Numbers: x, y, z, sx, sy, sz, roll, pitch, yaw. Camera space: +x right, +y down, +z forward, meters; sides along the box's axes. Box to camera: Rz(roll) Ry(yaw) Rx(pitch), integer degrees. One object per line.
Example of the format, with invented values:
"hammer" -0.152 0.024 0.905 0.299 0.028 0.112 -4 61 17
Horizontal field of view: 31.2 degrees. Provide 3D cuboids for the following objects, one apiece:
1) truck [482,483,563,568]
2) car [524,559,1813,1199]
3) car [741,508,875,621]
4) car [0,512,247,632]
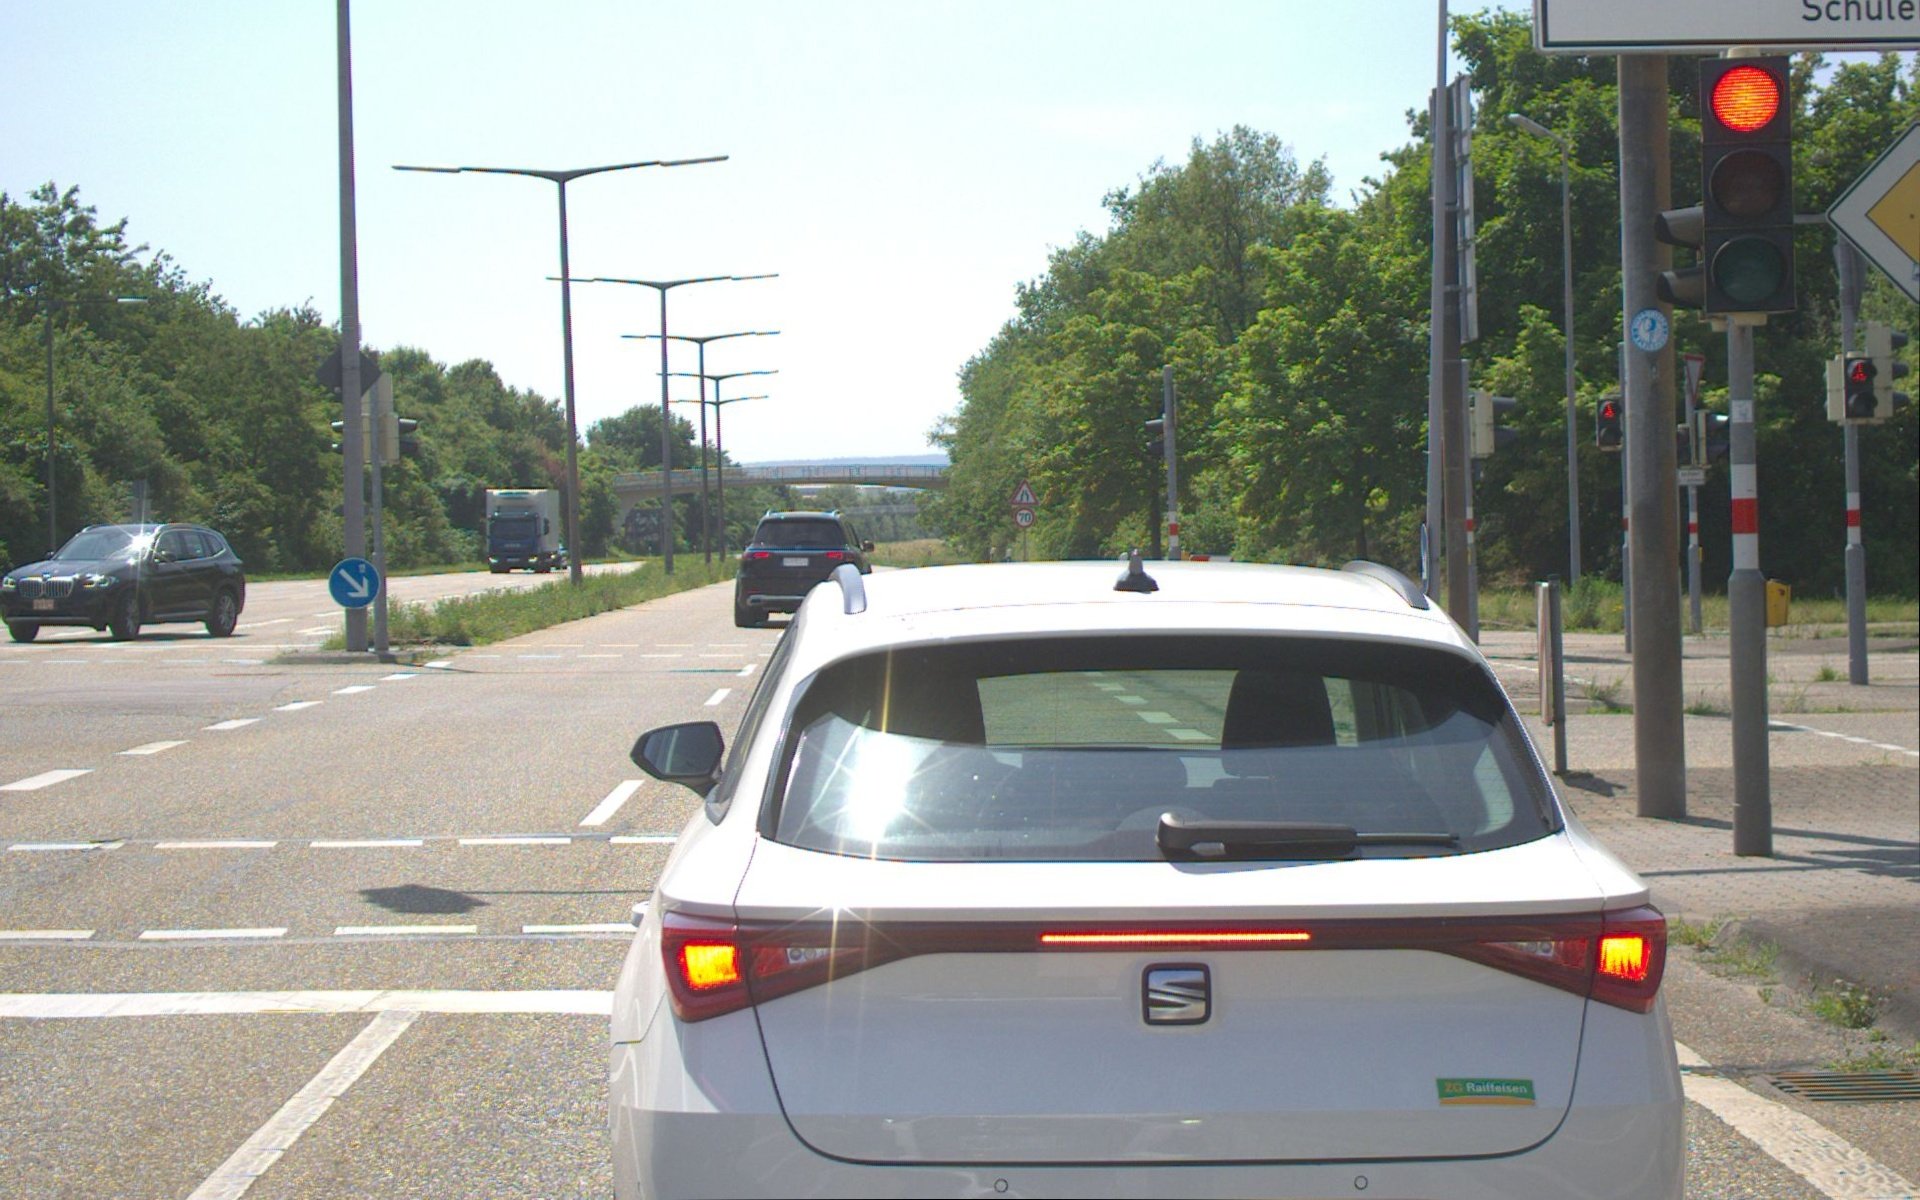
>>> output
"truck" -18.827 -3.221 148.259 2.687 3.558 7.268 0 1 -1
"car" 0.258 0.649 6.505 1.734 1.423 3.695 1 1 -1
"car" -2.384 -0.595 54.852 1.855 1.703 4.000 -1 1 1
"car" -12.174 -0.439 50.281 1.708 1.657 4.220 -1 1 15
